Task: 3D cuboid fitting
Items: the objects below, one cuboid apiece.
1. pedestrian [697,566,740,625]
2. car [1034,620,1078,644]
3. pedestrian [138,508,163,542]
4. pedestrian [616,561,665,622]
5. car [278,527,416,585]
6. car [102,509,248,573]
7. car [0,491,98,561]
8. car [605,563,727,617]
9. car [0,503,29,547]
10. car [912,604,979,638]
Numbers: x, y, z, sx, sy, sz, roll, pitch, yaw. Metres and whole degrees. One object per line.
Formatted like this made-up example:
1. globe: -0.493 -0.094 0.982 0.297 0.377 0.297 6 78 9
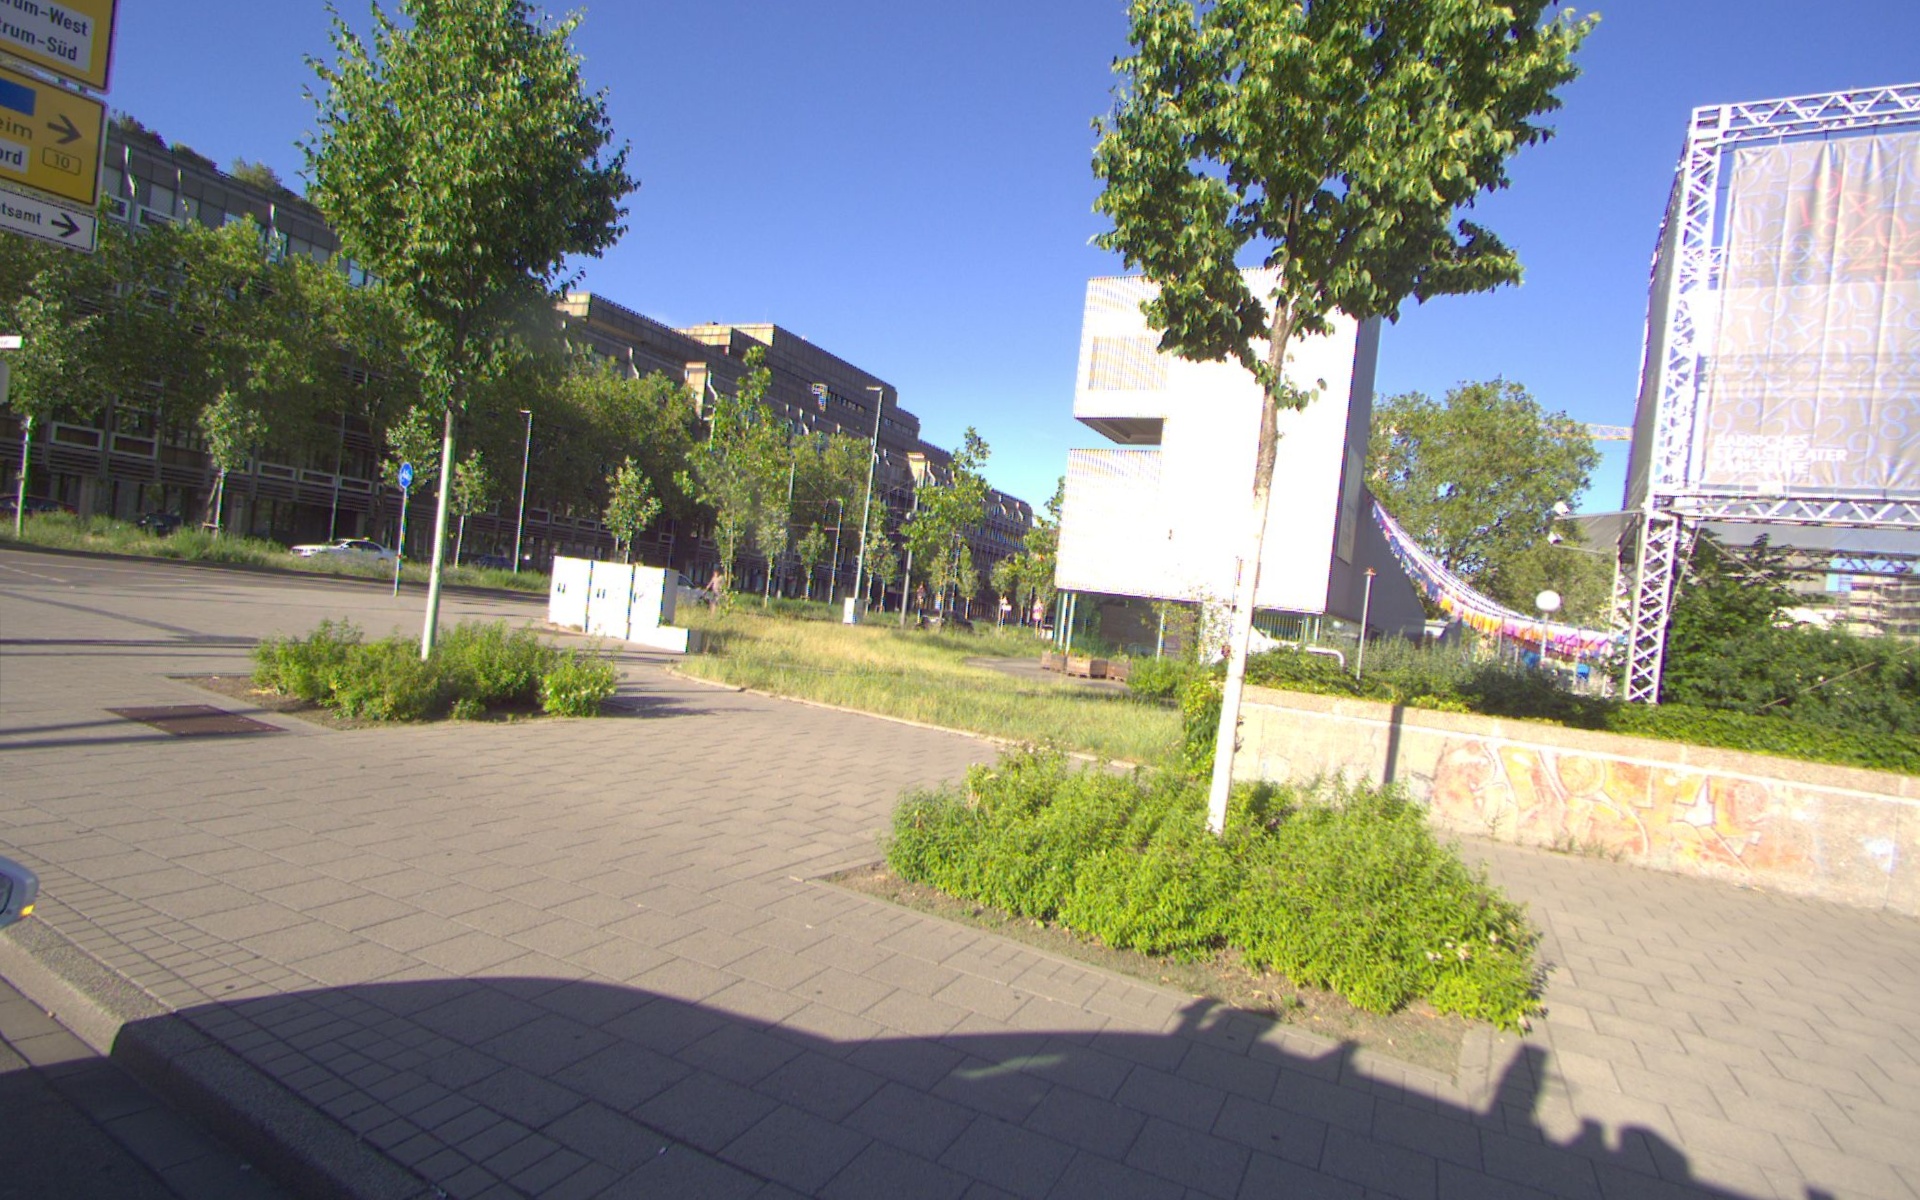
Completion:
1. pedestrian: -7.634 -0.135 31.770 0.925 1.750 0.695 7 1 18
2. car: 7.732 2.589 80.527 1.964 1.546 4.700 7 -1 24
3. pedestrian: -43.824 -4.054 54.476 0.728 1.678 0.665 7 1 25
4. pedestrian: -9.438 -0.238 29.734 0.925 1.650 0.803 7 1 18
5. car: -30.683 -2.179 50.585 2.062 2.036 5.455 6 -2 29
6. car: -34.118 -2.526 43.881 1.965 2.036 4.458 7 -2 27
7. car: -33.319 -2.709 35.374 1.966 2.037 3.997 6 -2 29
8. car: -11.392 -0.344 39.254 1.965 1.681 4.400 7 1 26
9. car: -37.250 -3.041 36.944 1.836 1.525 3.997 7 -2 29
10. car: -0.830 1.344 62.832 1.965 1.621 4.949 8 0 26
